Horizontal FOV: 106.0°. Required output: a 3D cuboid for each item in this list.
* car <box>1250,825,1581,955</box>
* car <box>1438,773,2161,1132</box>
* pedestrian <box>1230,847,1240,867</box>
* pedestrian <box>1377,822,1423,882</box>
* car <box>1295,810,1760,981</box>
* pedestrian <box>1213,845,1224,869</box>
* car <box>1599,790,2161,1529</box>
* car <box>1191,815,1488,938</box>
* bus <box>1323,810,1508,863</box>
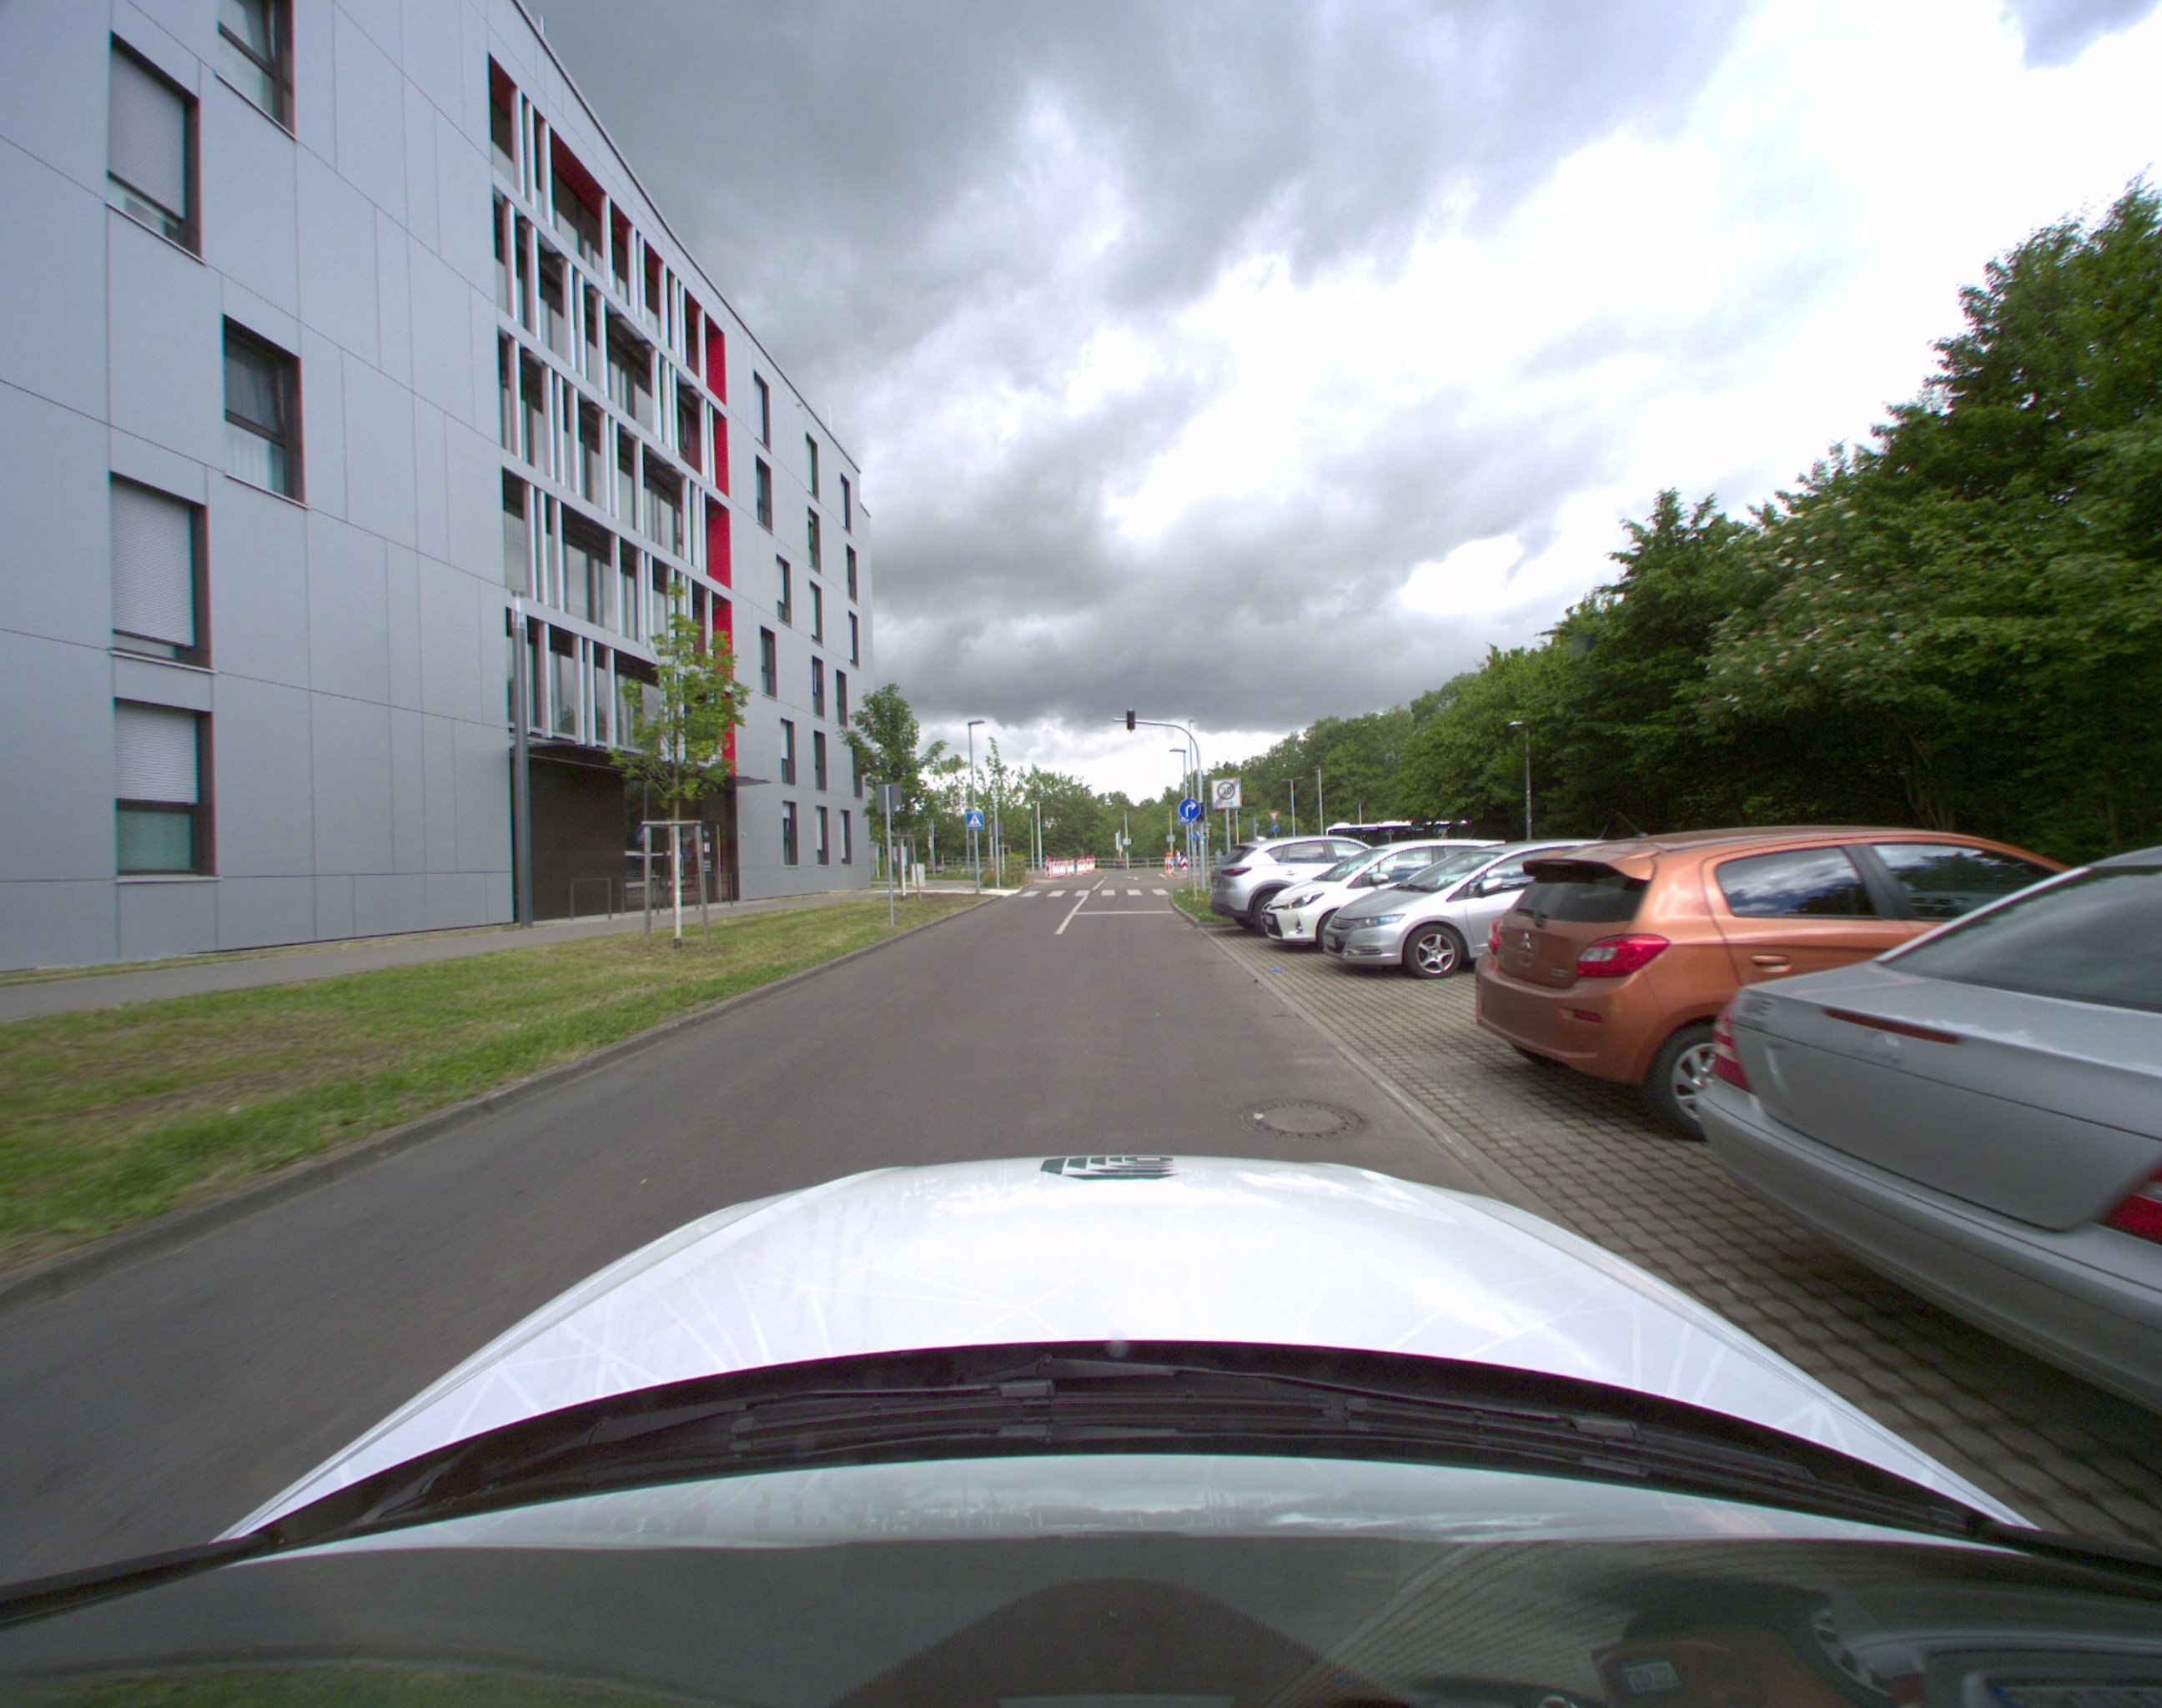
[{"bbox_3d":[4.801,0.492,12.108,4.142,1.586,1.795,-3,0,-1],"label":"car"},{"bbox_3d":[4.507,0.444,4.680,4.130,1.591,1.678,-3,0,3],"label":"car"},{"bbox_3d":[12.469,0.218,65.913,0.715,1.621,0.808,-2,0,14],"label":"pedestrian"},{"bbox_3d":[10.041,-0.055,25.616,0.986,1.822,0.850,-1,-1,-24],"label":"pedestrian"},{"bbox_3d":[5.066,0.443,9.727,4.463,1.562,1.911,-4,0,-1],"label":"car"},{"bbox_3d":[10.430,0.234,61.920,0.715,1.747,0.961,-2,0,14],"label":"pedestrian"},{"bbox_3d":[4.297,0.483,2.291,4.378,1.435,1.945,-3,0,2],"label":"car"},{"bbox_3d":[4.518,0.371,14.750,4.637,1.752,2.068,-4,0,-3],"label":"car"},{"bbox_3d":[24.052,-1.216,59.347,12.069,3.203,2.686,-3,-1,15],"label":"bus"}]
